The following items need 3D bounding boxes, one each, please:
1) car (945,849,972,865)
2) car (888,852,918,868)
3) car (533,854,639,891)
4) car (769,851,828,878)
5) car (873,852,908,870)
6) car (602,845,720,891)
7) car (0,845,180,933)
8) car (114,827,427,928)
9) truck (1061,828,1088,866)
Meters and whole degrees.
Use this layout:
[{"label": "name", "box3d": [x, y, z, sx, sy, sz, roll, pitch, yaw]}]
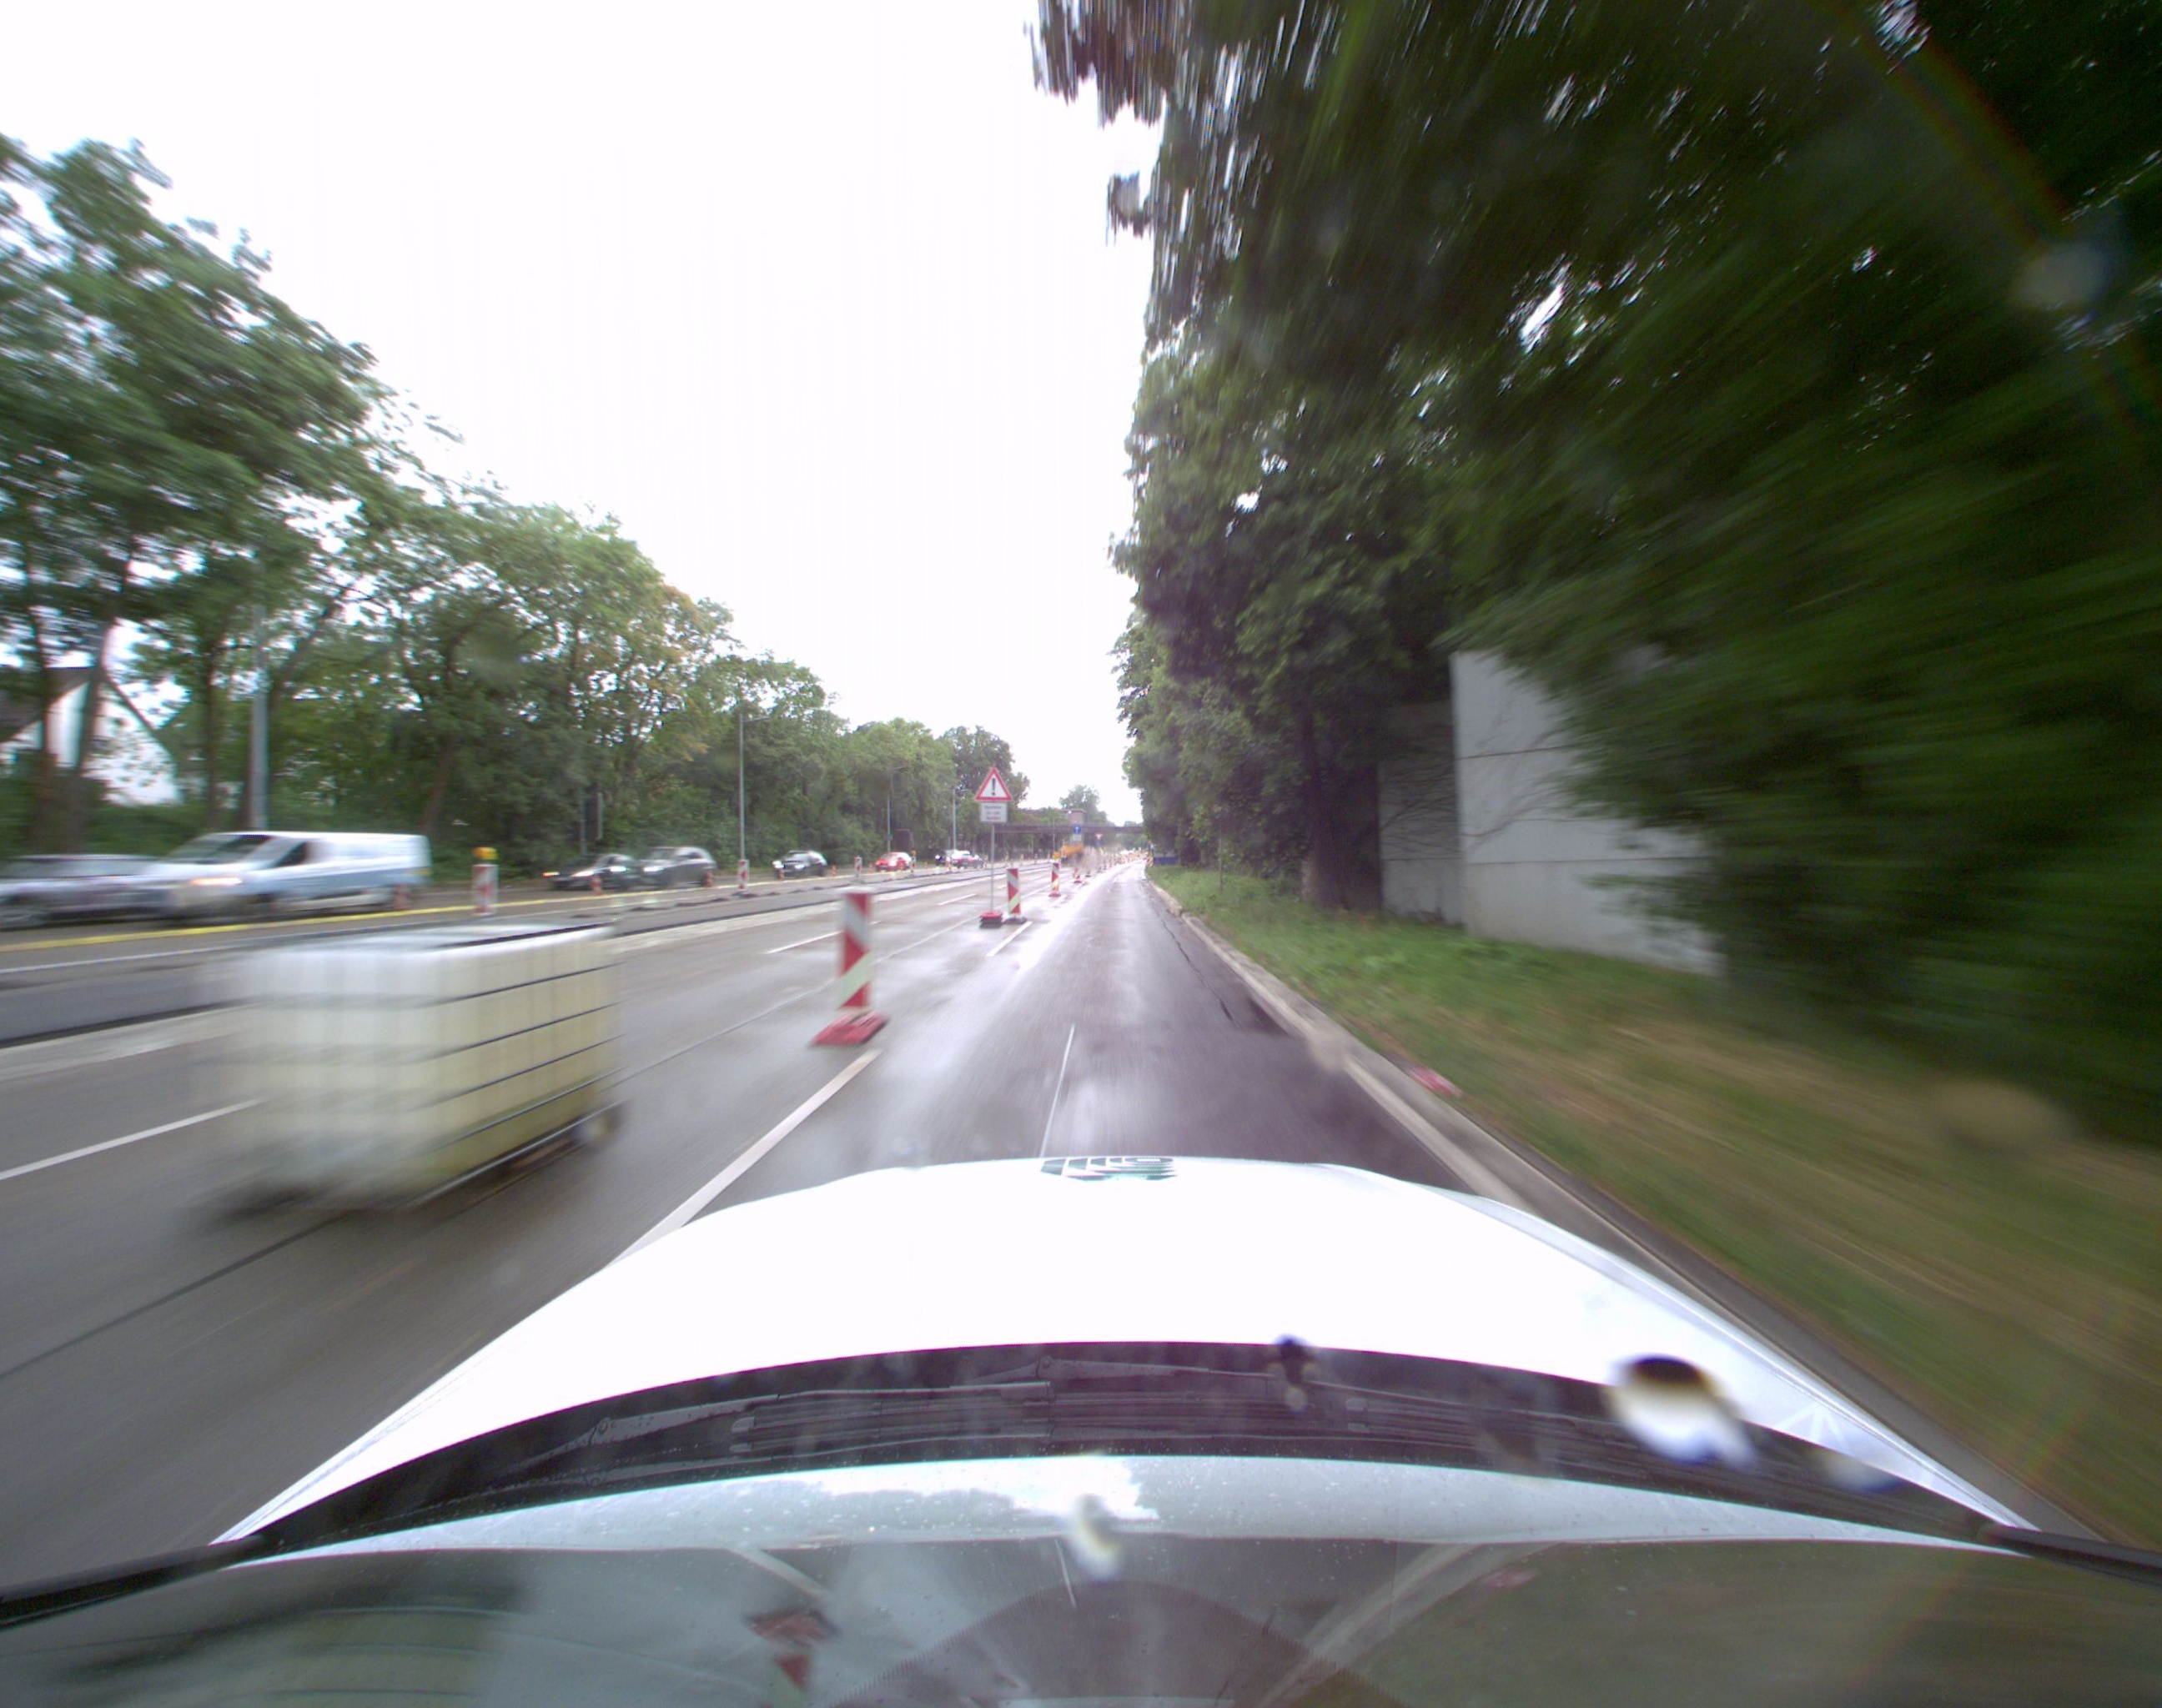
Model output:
[{"label": "car", "box3d": [-13.206, 0.355, 88.123, 1.882, 1.661, 4.897, 0, 0, 3]}, {"label": "car", "box3d": [-16.890, 0.537, 77.377, 1.672, 1.496, 4.152, -2, 0, 3]}, {"label": "car", "box3d": [-19.870, 0.695, 32.893, 1.638, 1.420, 4.003, 0, 0, 3]}, {"label": "car", "box3d": [-16.309, 0.594, 47.288, 1.769, 1.487, 4.199, 0, 0, 3]}, {"label": "car", "box3d": [-15.011, 0.547, 64.395, 1.672, 1.400, 4.016, 0, 0, 3]}, {"label": "car", "box3d": [-16.994, 0.521, 33.324, 2.013, 1.725, 5.016, 0, 0, 3]}, {"label": "car", "box3d": [-20.752, 0.644, 15.868, 1.820, 1.621, 4.002, 0, 0, 2]}, {"label": "car", "box3d": [-17.719, 0.450, 18.279, 1.986, 1.972, 4.905, 0, 0, 2]}, {"label": "truck", "box3d": [-0.724, -0.820, 98.612, 2.887, 4.259, 10.757, 0, 0, 1]}]
